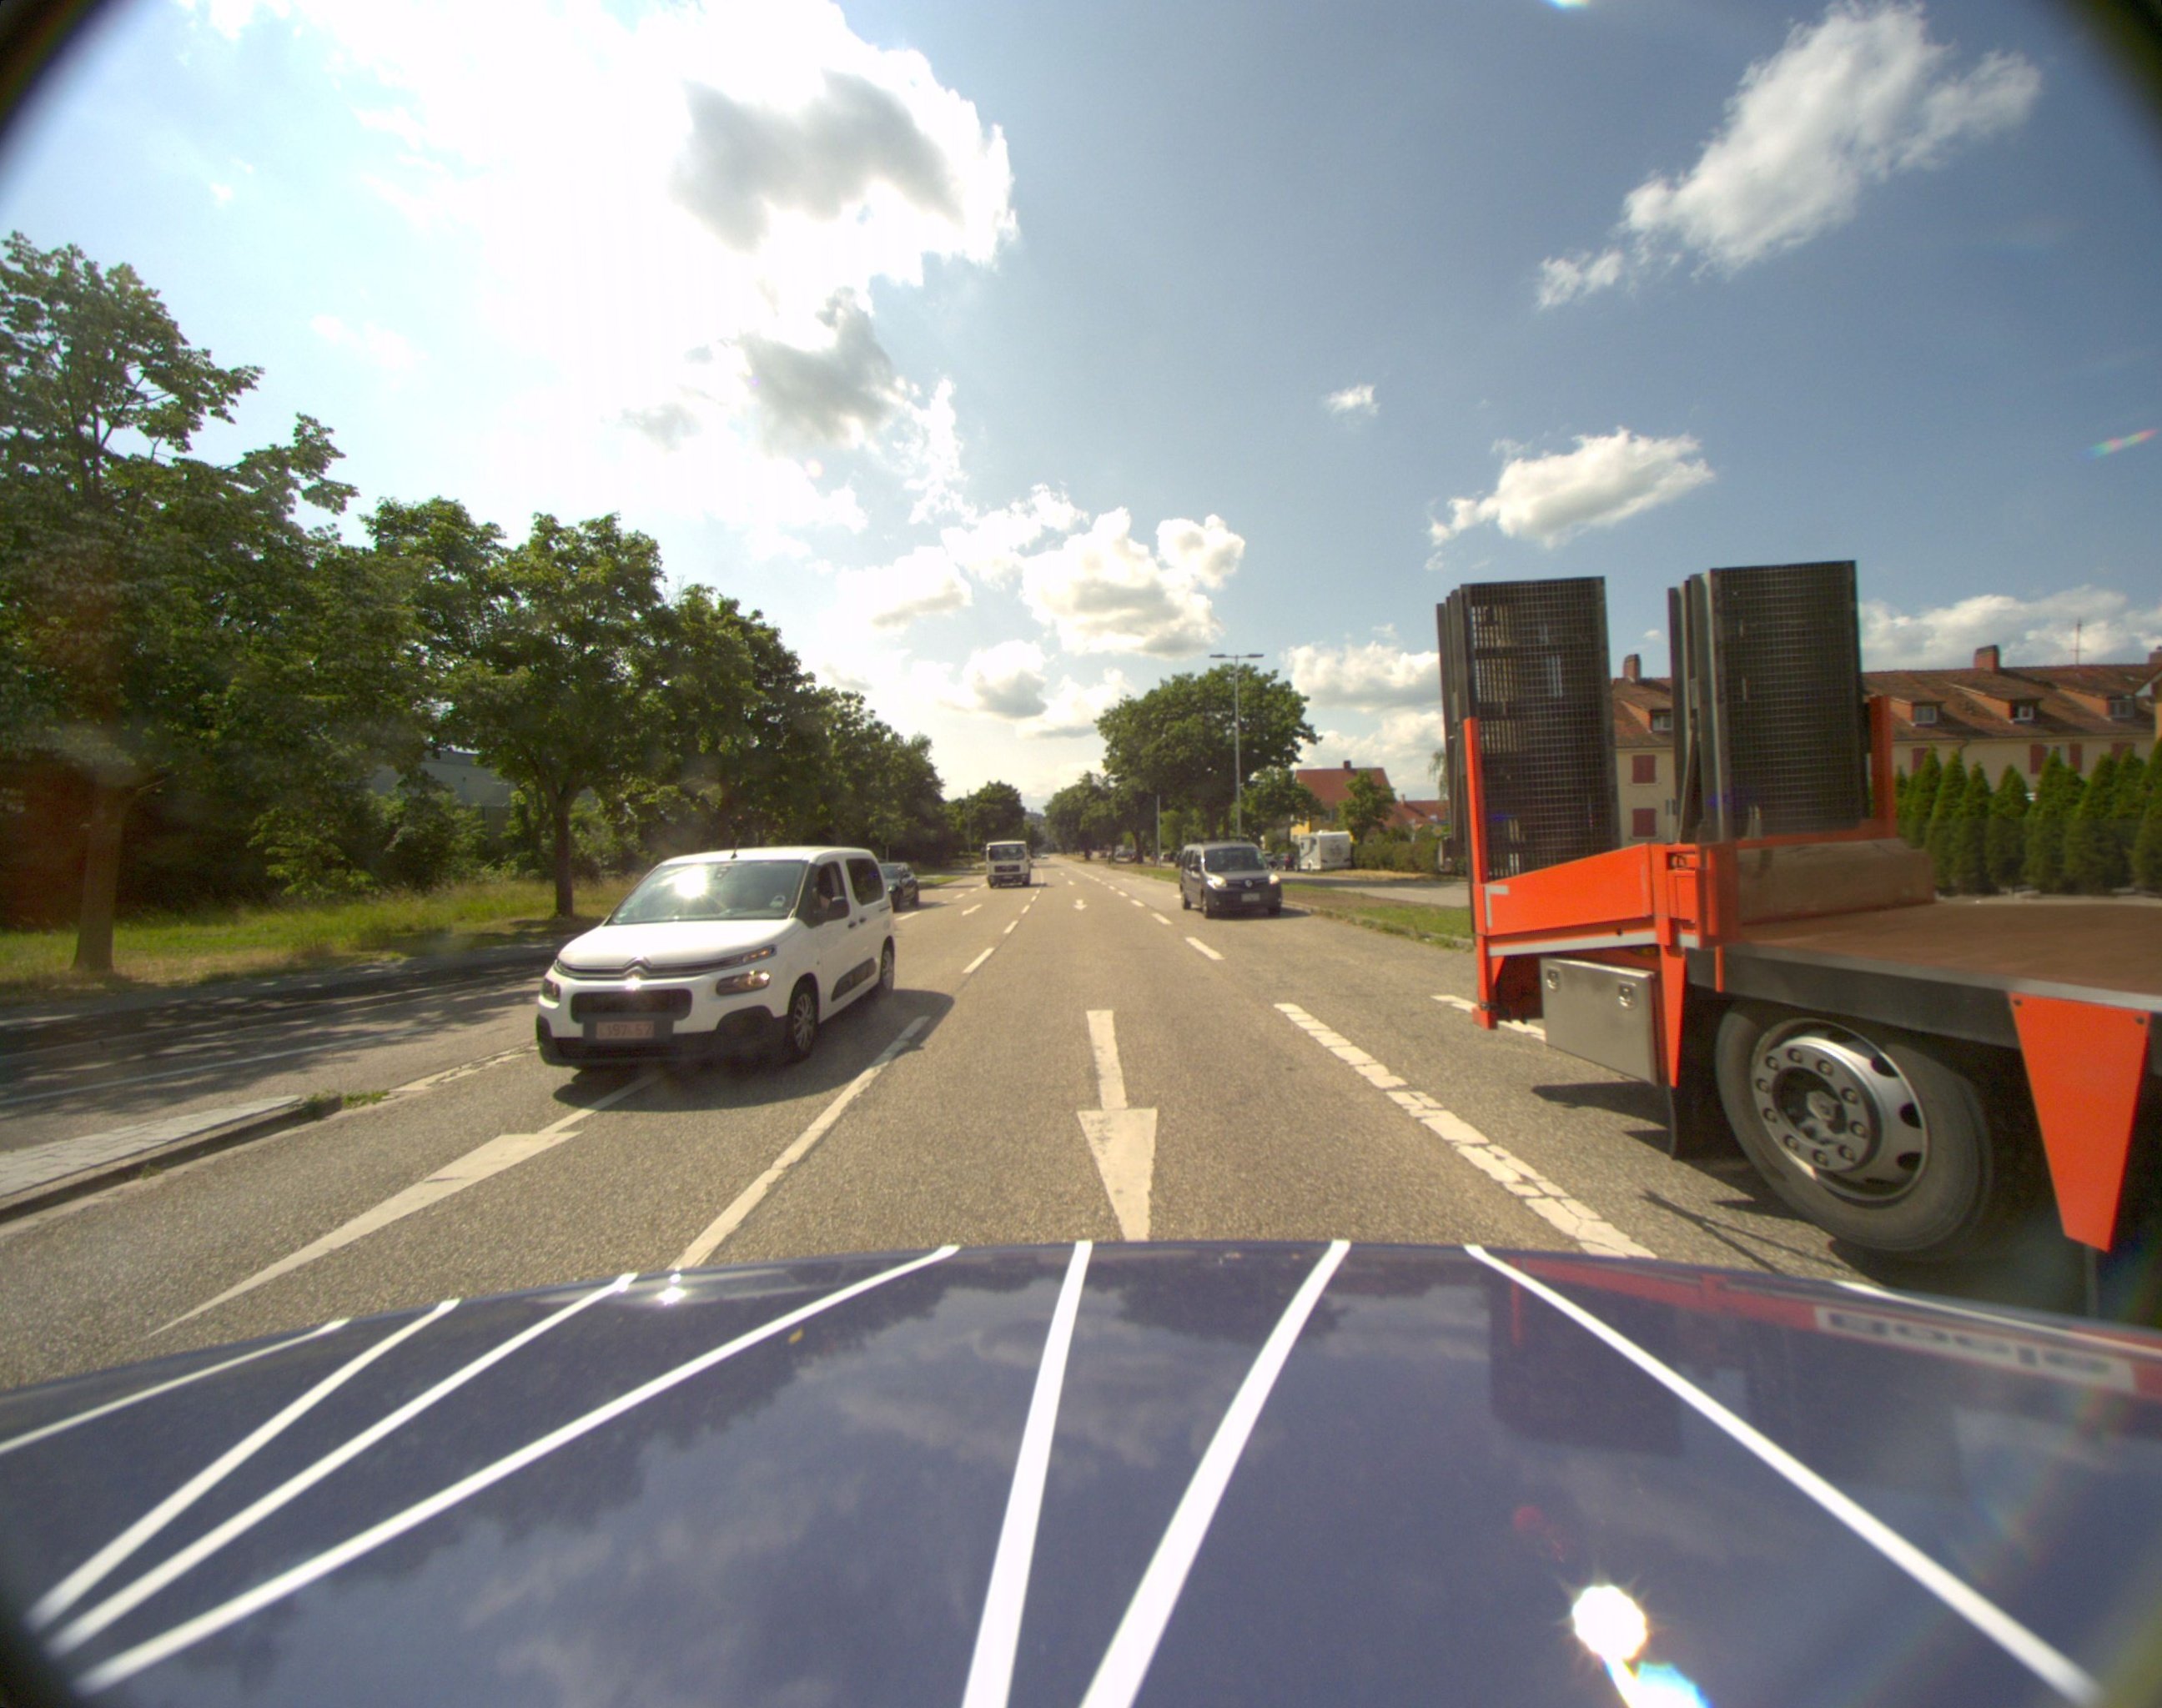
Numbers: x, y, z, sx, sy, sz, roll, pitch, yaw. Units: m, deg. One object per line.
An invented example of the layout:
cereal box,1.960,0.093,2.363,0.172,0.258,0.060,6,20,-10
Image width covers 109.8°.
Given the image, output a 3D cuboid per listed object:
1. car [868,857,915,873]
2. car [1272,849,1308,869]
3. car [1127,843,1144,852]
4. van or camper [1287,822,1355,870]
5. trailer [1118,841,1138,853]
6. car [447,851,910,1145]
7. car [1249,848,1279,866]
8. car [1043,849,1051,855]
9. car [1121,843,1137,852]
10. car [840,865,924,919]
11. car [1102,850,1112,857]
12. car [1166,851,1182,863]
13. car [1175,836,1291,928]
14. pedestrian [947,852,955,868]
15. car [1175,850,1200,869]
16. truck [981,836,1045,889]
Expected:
car,-17.949,1.047,72.209,4.176,1.484,1.783,1,-1,-8
car,16.980,0.386,61.906,1.640,1.477,3.991,-4,1,-1
car,13.649,-1.722,190.202,1.800,2.002,4.007,-2,2,44
van or camper,17.227,-0.545,55.082,2.265,3.094,7.318,-4,0,-2
trailer,13.445,-2.097,215.161,2.821,3.090,5.763,-3,1,35
car,-3.121,0.924,7.277,1.936,1.775,4.714,-4,0,-2
car,16.914,0.266,70.472,1.693,1.477,4.122,-4,1,-1
car,-8.828,-0.583,197.768,1.892,1.281,3.998,-4,1,-4
car,12.514,-1.678,198.068,1.800,2.002,4.007,-2,2,44
car,-6.839,1.268,26.579,1.758,1.482,3.999,-3,1,1
car,6.130,-0.202,179.871,1.737,1.499,4.650,2,1,-3
car,14.731,0.465,120.537,1.665,1.603,4.312,-4,1,-4
car,3.599,0.557,18.811,1.768,1.893,4.539,-4,1,-1
pedestrian,-14.846,0.714,86.948,0.719,1.784,0.739,-4,2,-4
car,10.060,0.471,71.979,1.799,1.679,3.999,-1,1,-1
truck,-3.855,0.379,44.582,2.848,2.649,7.350,-3,1,1
